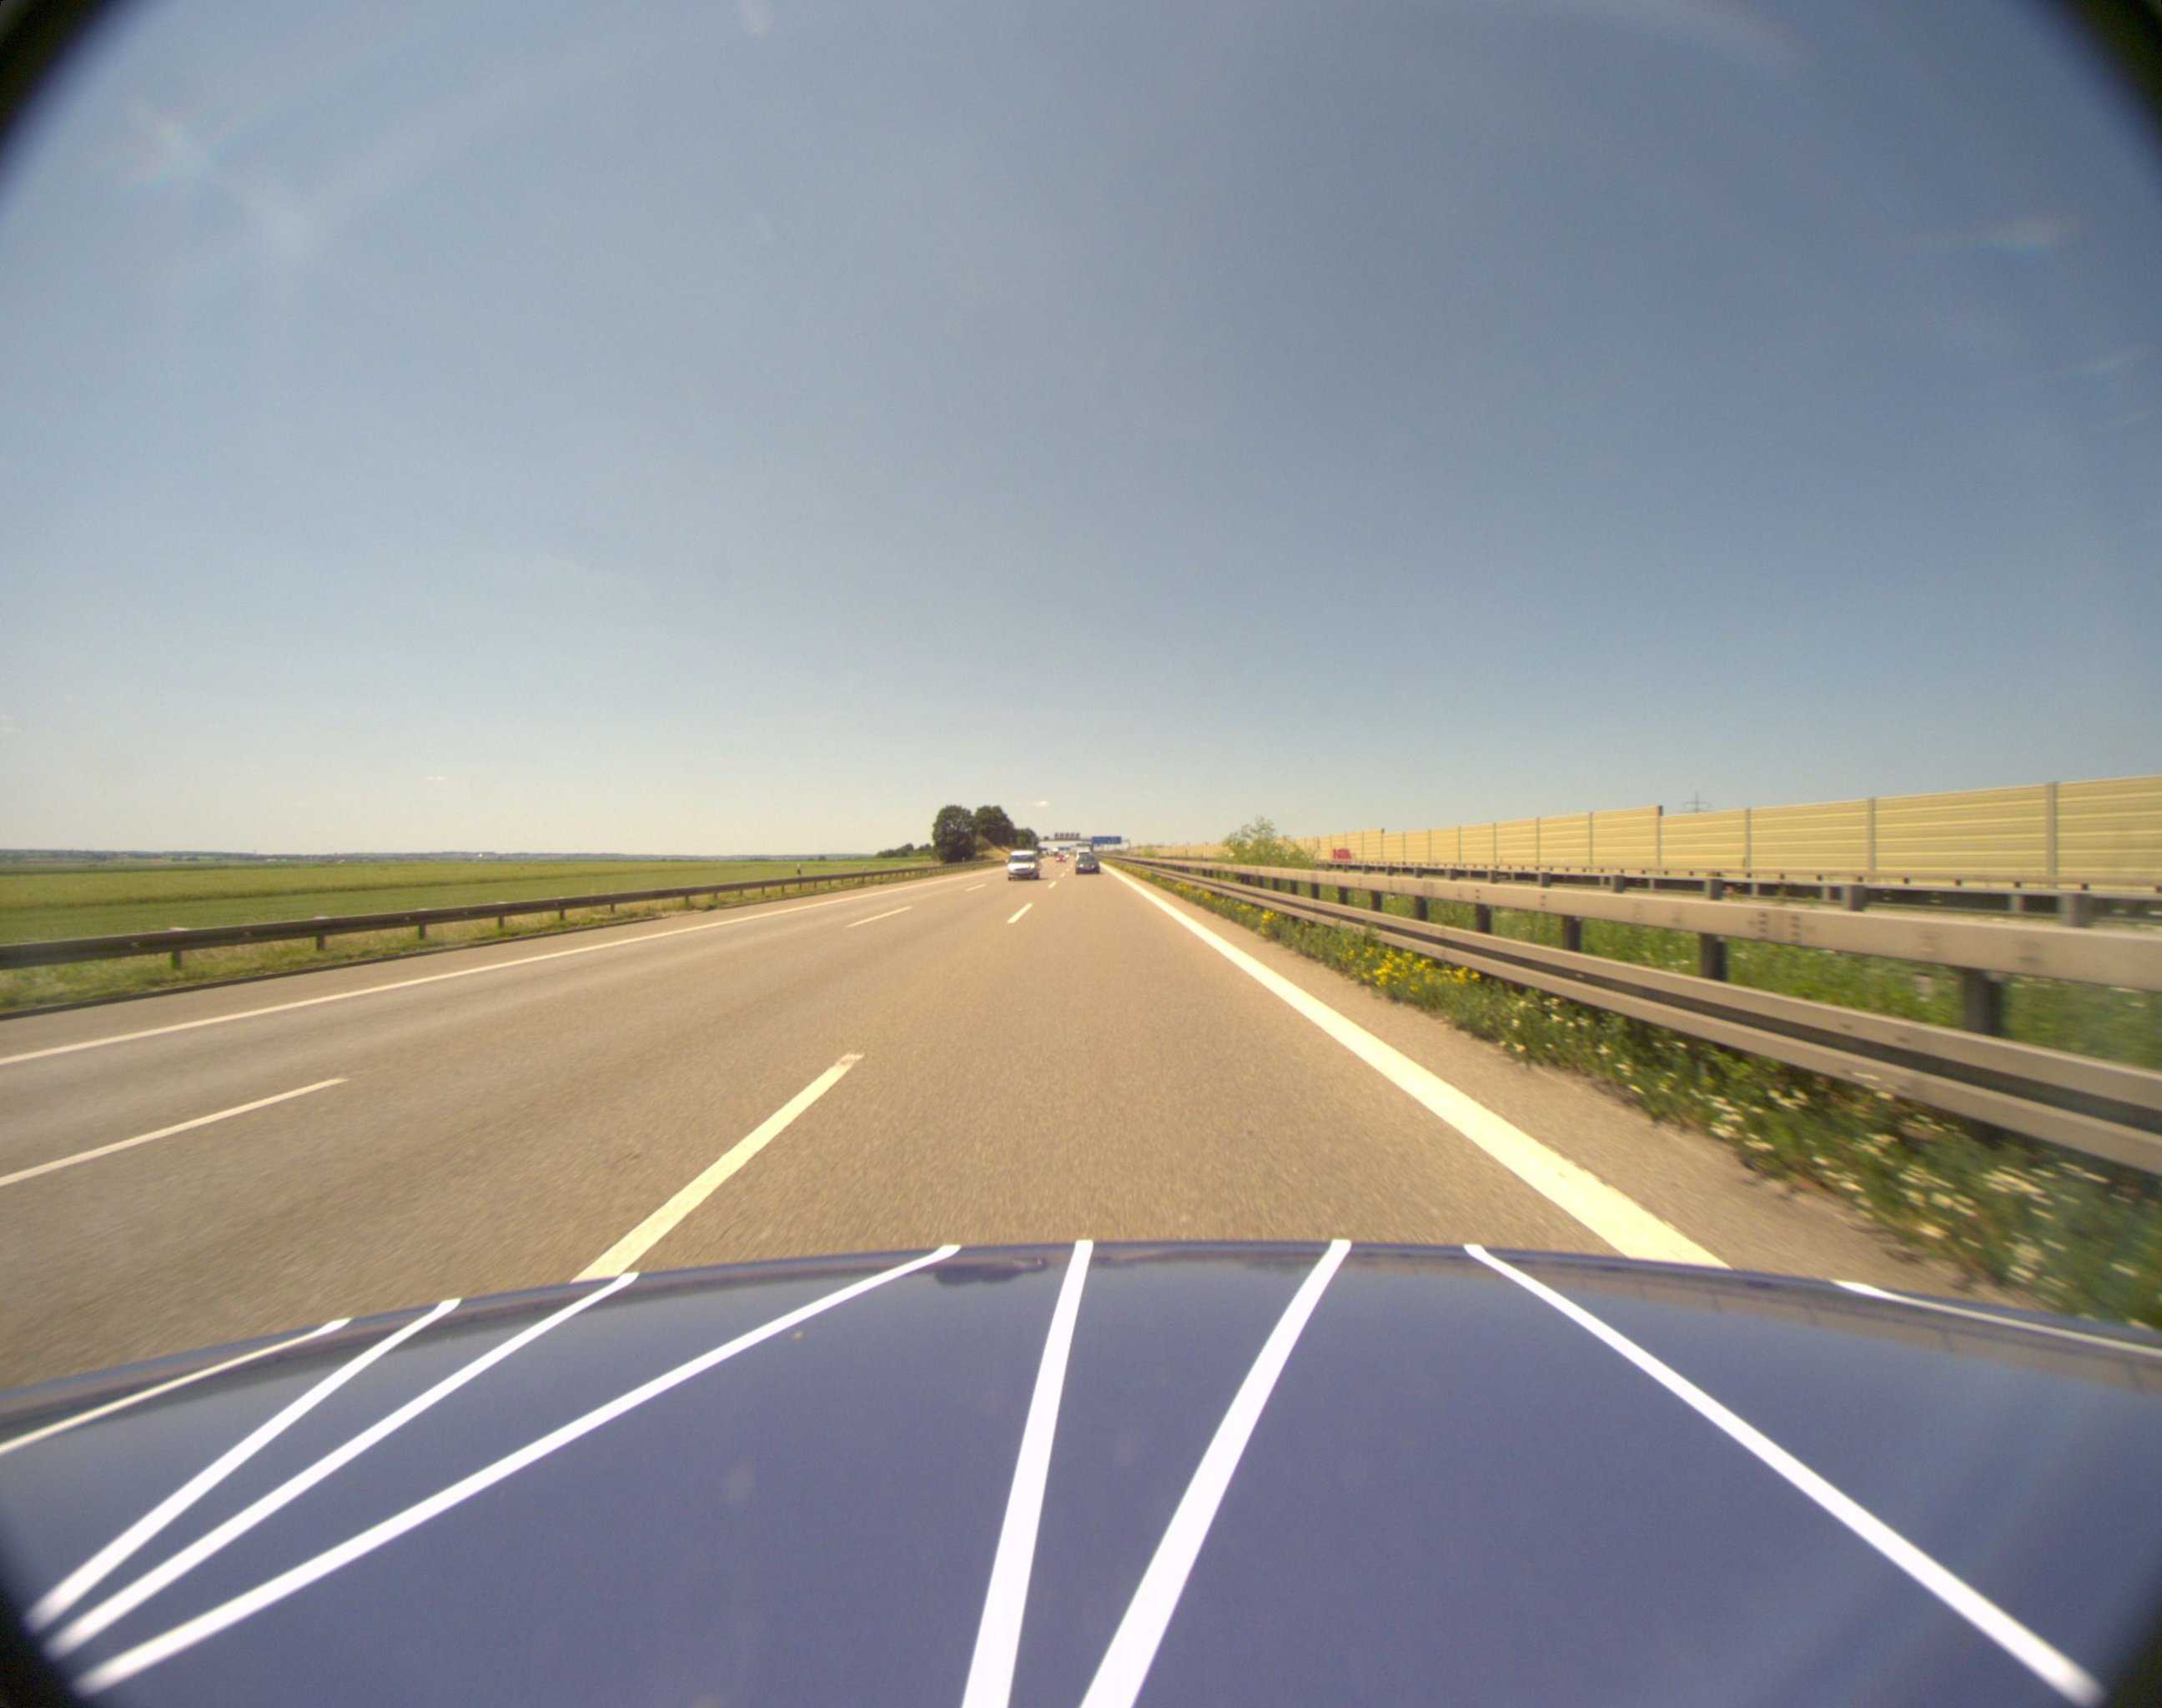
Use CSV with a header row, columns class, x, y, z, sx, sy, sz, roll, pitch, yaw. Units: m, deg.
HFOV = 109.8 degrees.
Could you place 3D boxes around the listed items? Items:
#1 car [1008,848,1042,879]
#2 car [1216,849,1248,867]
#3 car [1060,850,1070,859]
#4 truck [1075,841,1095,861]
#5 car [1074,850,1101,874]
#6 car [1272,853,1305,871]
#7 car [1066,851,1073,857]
class,x,y,z,sx,sy,sz,roll,pitch,yaw
car,-3.493,0.583,48.403,1.812,1.836,5.311,-2,0,-1
car,14.288,0.357,72.302,1.998,1.585,5.306,0,1,1
car,-2.863,0.157,137.673,1.723,1.514,3.581,-2,1,-1
truck,0.466,-0.394,96.082,2.333,2.378,6.685,-2,1,-1
car,0.440,0.555,56.965,1.715,1.586,4.546,-6,0,-1
car,18.537,0.699,67.899,1.722,1.401,4.484,-2,1,1
car,-3.009,0.011,200.811,1.723,1.514,3.581,-2,1,-1
